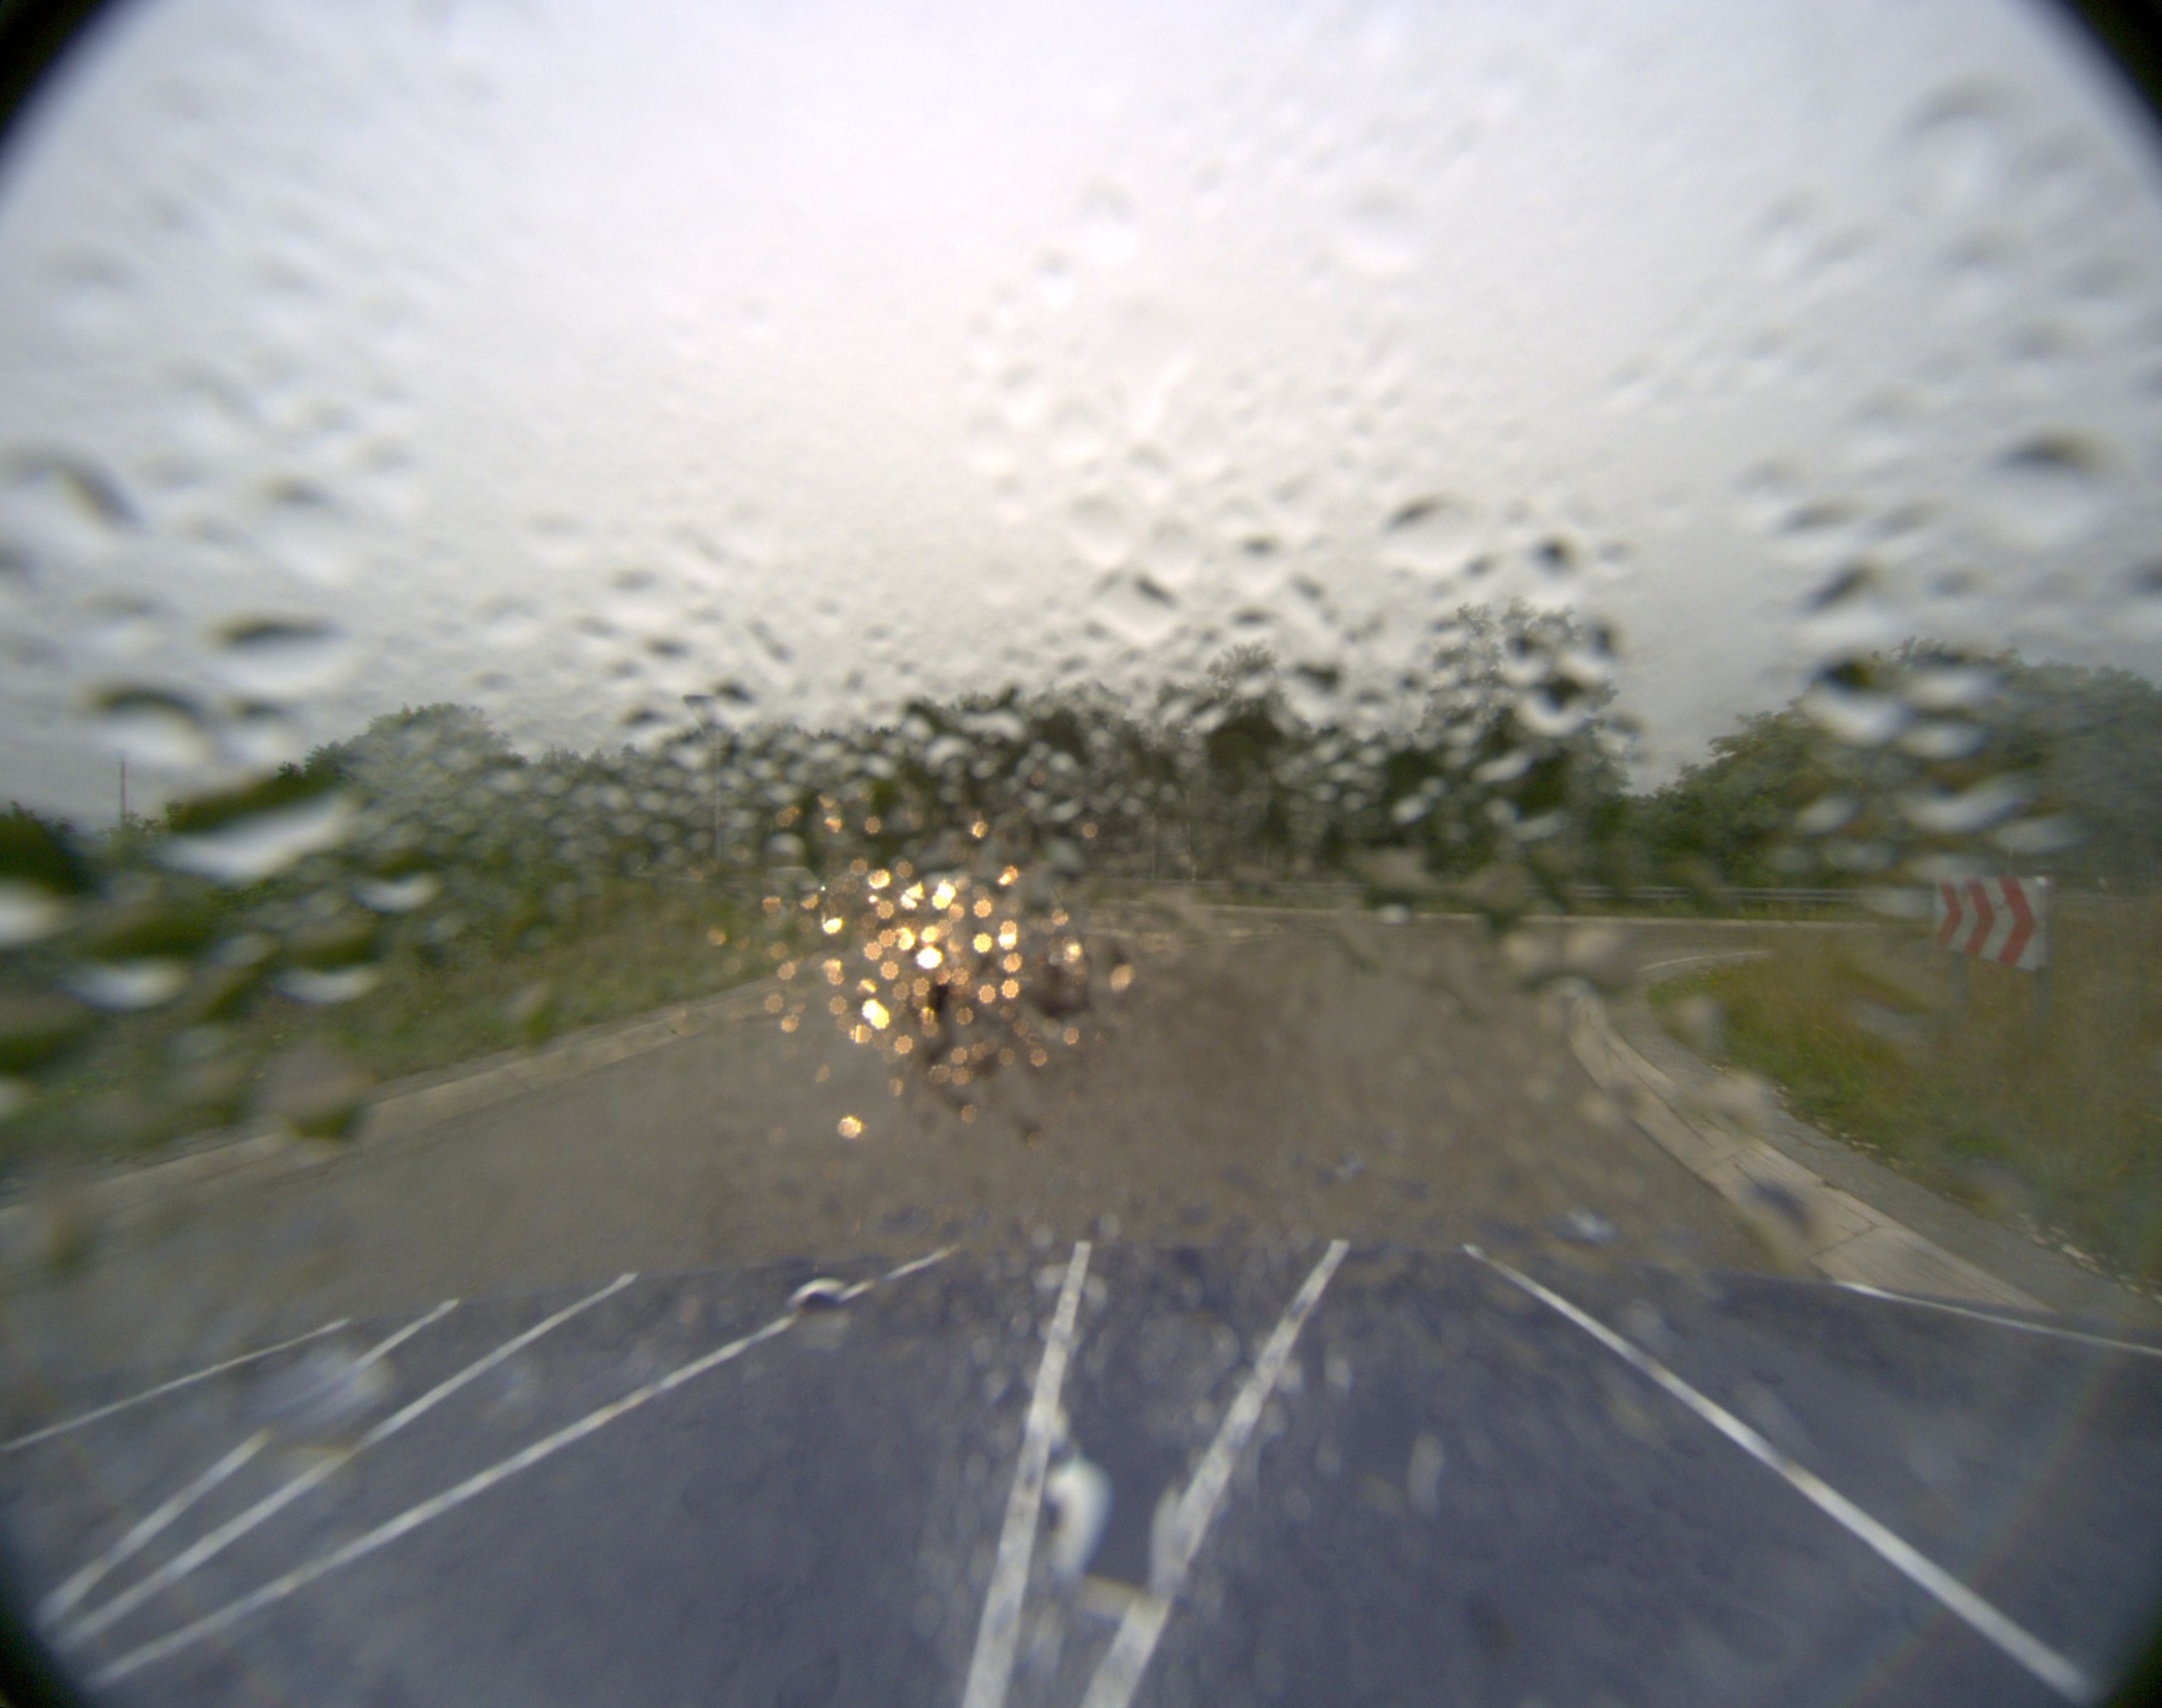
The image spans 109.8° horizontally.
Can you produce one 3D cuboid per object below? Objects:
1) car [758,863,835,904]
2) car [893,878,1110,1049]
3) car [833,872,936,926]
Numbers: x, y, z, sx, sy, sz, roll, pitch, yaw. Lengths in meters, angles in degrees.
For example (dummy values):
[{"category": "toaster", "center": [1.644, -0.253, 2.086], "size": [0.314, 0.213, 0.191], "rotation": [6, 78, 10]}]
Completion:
[{"category": "car", "center": [-10.932, 1.094, 29.020], "size": [1.767, 1.412, 4.492], "rotation": [0, -1, -34]}, {"category": "car", "center": [-0.958, 1.009, 8.845], "size": [1.874, 1.412, 4.501], "rotation": [0, -1, -7]}, {"category": "car", "center": [-5.707, 1.189, 21.630], "size": [1.953, 1.363, 4.494], "rotation": [0, -1, -26]}]
